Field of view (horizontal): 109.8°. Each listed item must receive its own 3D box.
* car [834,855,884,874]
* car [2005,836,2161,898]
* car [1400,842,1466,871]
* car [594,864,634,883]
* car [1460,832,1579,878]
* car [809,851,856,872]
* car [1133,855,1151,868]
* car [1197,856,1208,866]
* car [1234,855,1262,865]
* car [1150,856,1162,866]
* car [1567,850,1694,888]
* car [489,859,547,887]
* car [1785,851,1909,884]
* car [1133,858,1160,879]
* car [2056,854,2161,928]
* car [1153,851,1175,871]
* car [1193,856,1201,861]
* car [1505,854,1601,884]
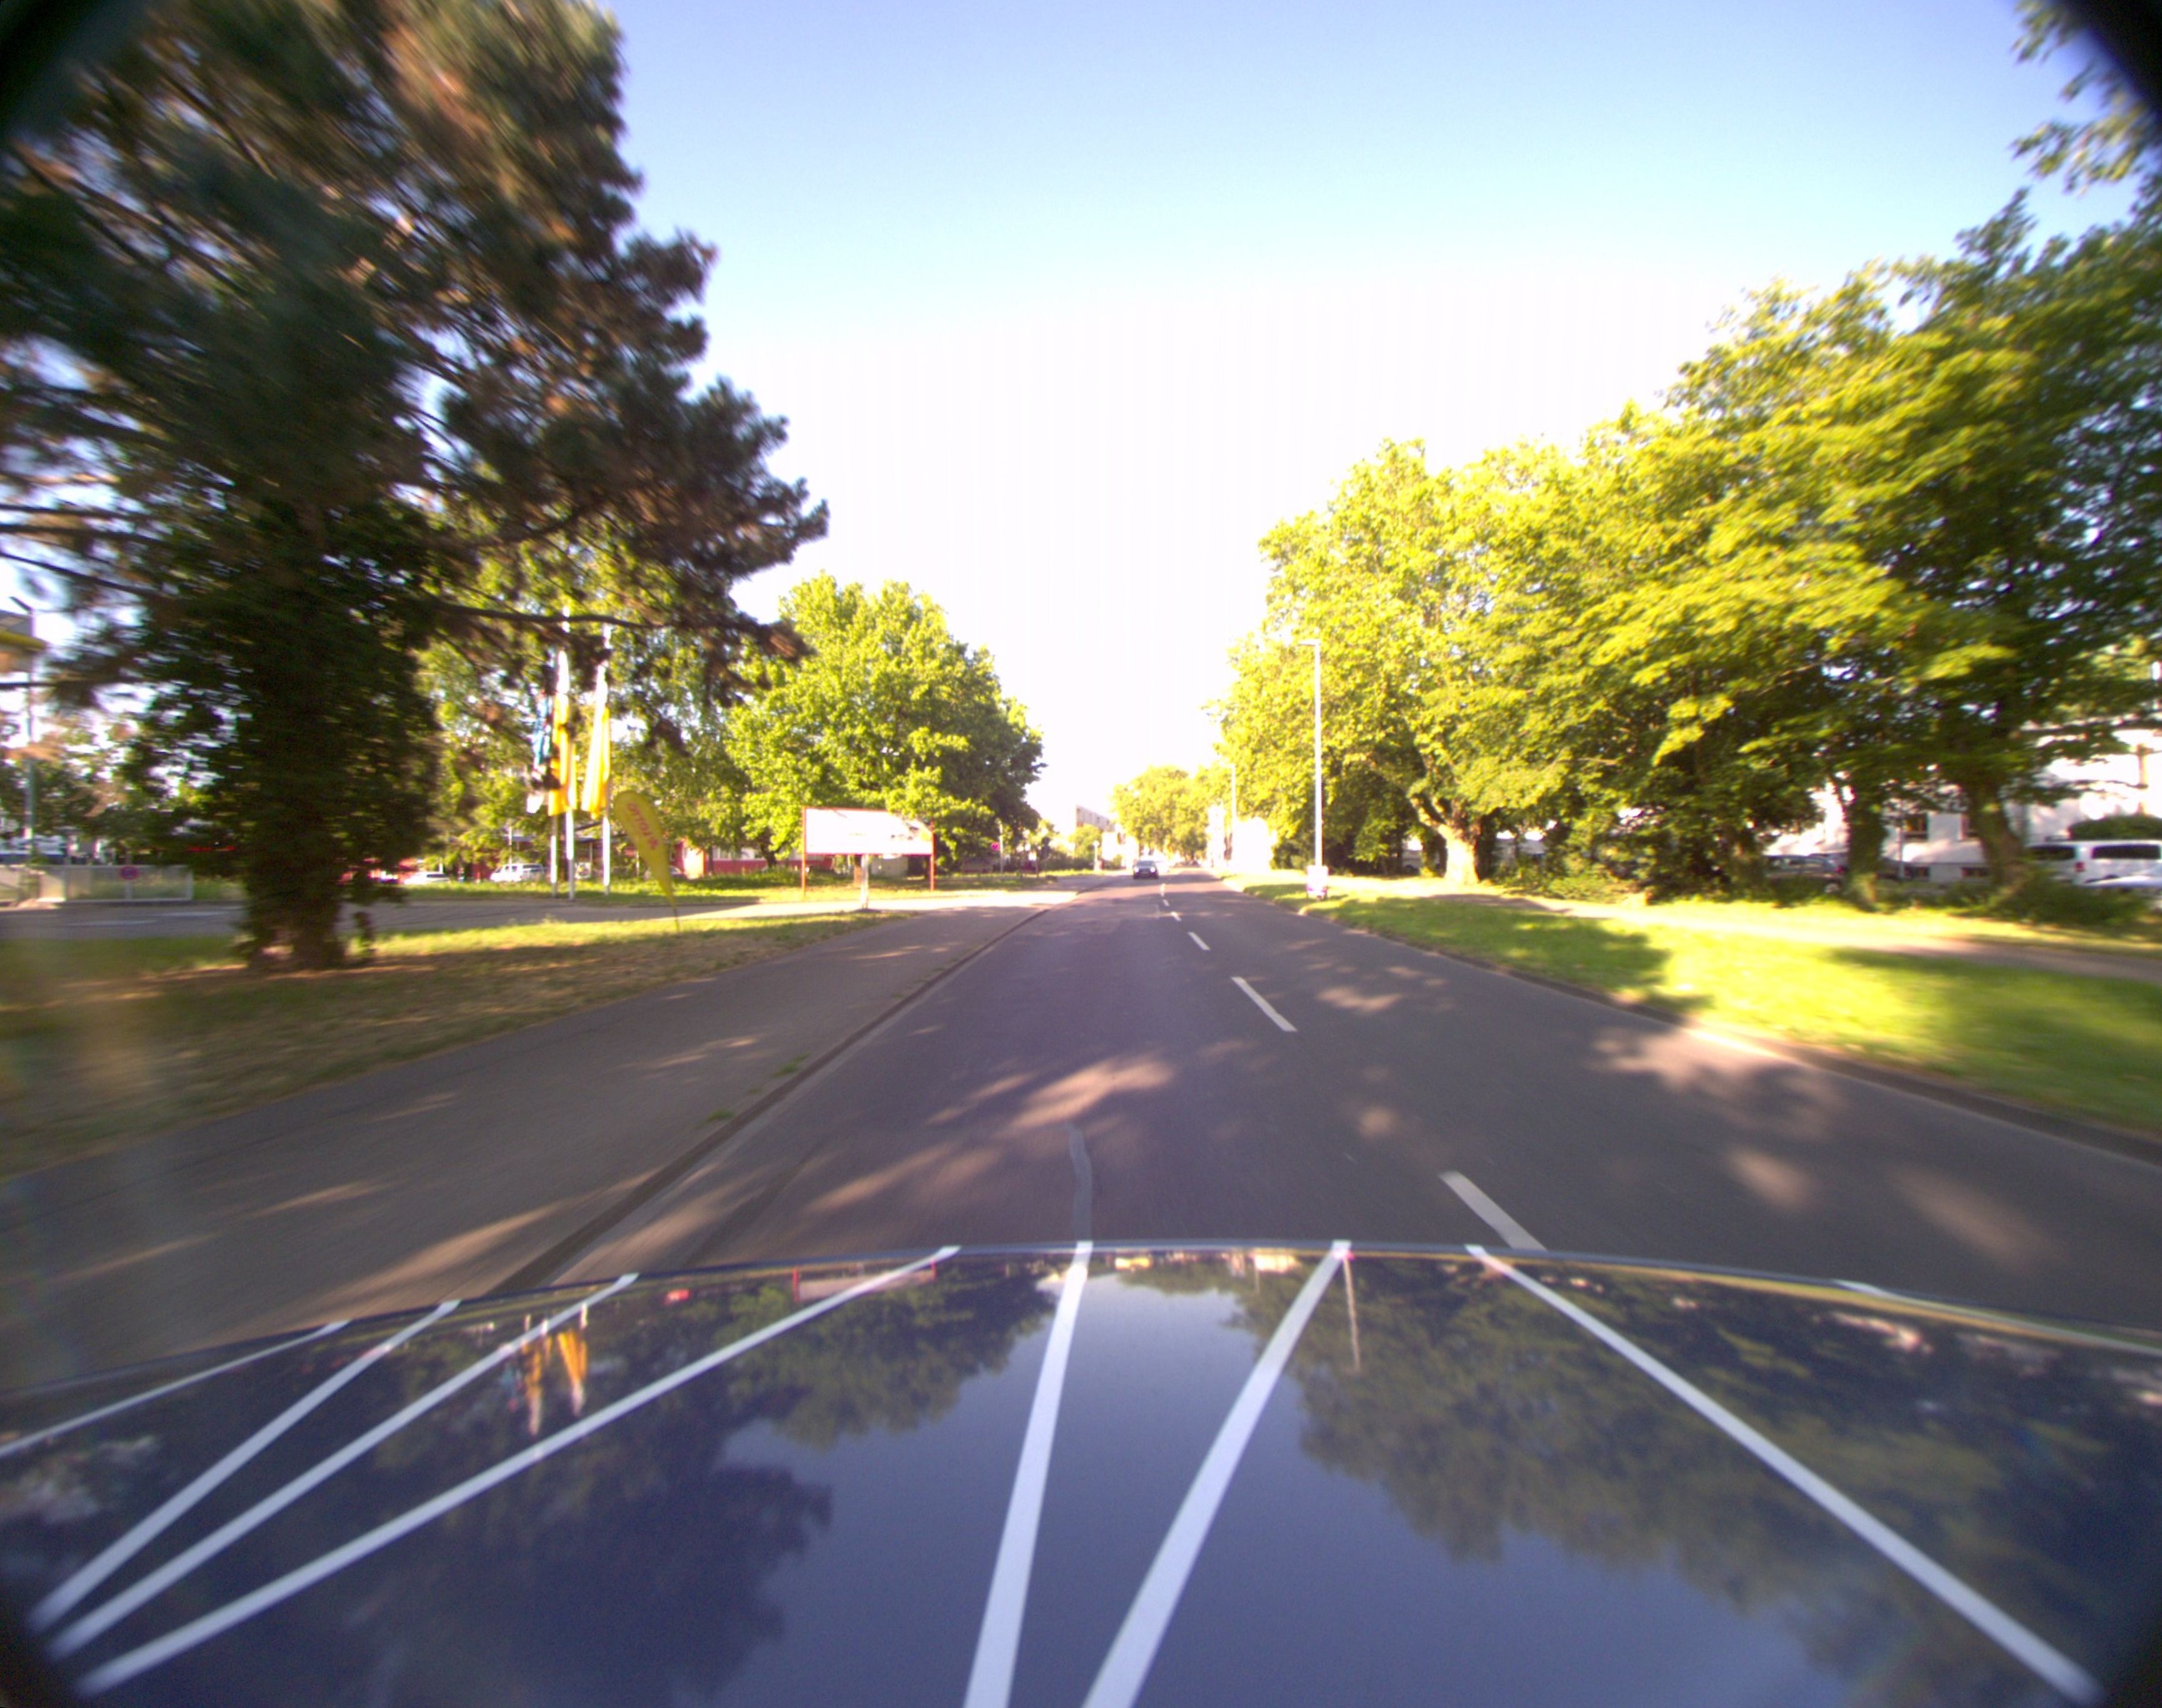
[{"bbox_3d":[-20.005,0.917,68.524,4.433,1.584,2.004,-2,0,37],"label":"car"},{"bbox_3d":[35.930,0.432,26.690,4.556,2.002,1.999,-1,1,0],"label":"car"},{"bbox_3d":[26.205,0.216,56.597,3.997,2.032,1.909,-1,-2,0],"label":"car"},{"bbox_3d":[-40.906,1.684,66.549,3.544,1.493,1.689,-3,-1,36],"label":"car"},{"bbox_3d":[25.038,0.066,43.590,5.441,2.487,2.187,1,1,5],"label":"car"},{"bbox_3d":[-21.903,0.675,66.973,4.432,1.807,1.710,0,0,37],"label":"car"},{"bbox_3d":[7.427,0.882,92.468,1.785,1.506,4.692,1,0,9],"label":"car"},{"bbox_3d":[20.244,1.152,126.616,1.764,1.474,4.111,-3,-1,11],"label":"car"},{"bbox_3d":[25.523,0.923,115.942,3.992,1.409,1.917,-3,-3,16],"label":"car"},{"bbox_3d":[12.249,1.129,124.539,1.601,1.680,4.340,0,0,10],"label":"car"},{"bbox_3d":[23.978,0.640,33.253,4.134,1.586,1.953,0,0,0],"label":"car"},{"bbox_3d":[-44.092,1.510,59.459,4.636,1.963,1.896,-3,0,30],"label":"car"},{"bbox_3d":[37.247,0.641,37.034,3.996,1.543,1.925,0,0,4],"label":"car"},{"bbox_3d":[5.002,1.061,57.505,1.869,1.471,4.089,0,0,7],"label":"car"},{"bbox_3d":[23.243,0.817,15.790,3.740,1.455,1.766,2,0,-2],"label":"car"},{"bbox_3d":[8.995,0.736,82.003,1.933,2.002,4.003,0,1,11],"label":"car"},{"bbox_3d":[32.552,1.228,213.140,1.899,1.581,4.074,0,0,16],"label":"car"},{"bbox_3d":[23.954,0.762,38.673,3.734,1.491,1.814,0,0,4],"label":"car"}]
